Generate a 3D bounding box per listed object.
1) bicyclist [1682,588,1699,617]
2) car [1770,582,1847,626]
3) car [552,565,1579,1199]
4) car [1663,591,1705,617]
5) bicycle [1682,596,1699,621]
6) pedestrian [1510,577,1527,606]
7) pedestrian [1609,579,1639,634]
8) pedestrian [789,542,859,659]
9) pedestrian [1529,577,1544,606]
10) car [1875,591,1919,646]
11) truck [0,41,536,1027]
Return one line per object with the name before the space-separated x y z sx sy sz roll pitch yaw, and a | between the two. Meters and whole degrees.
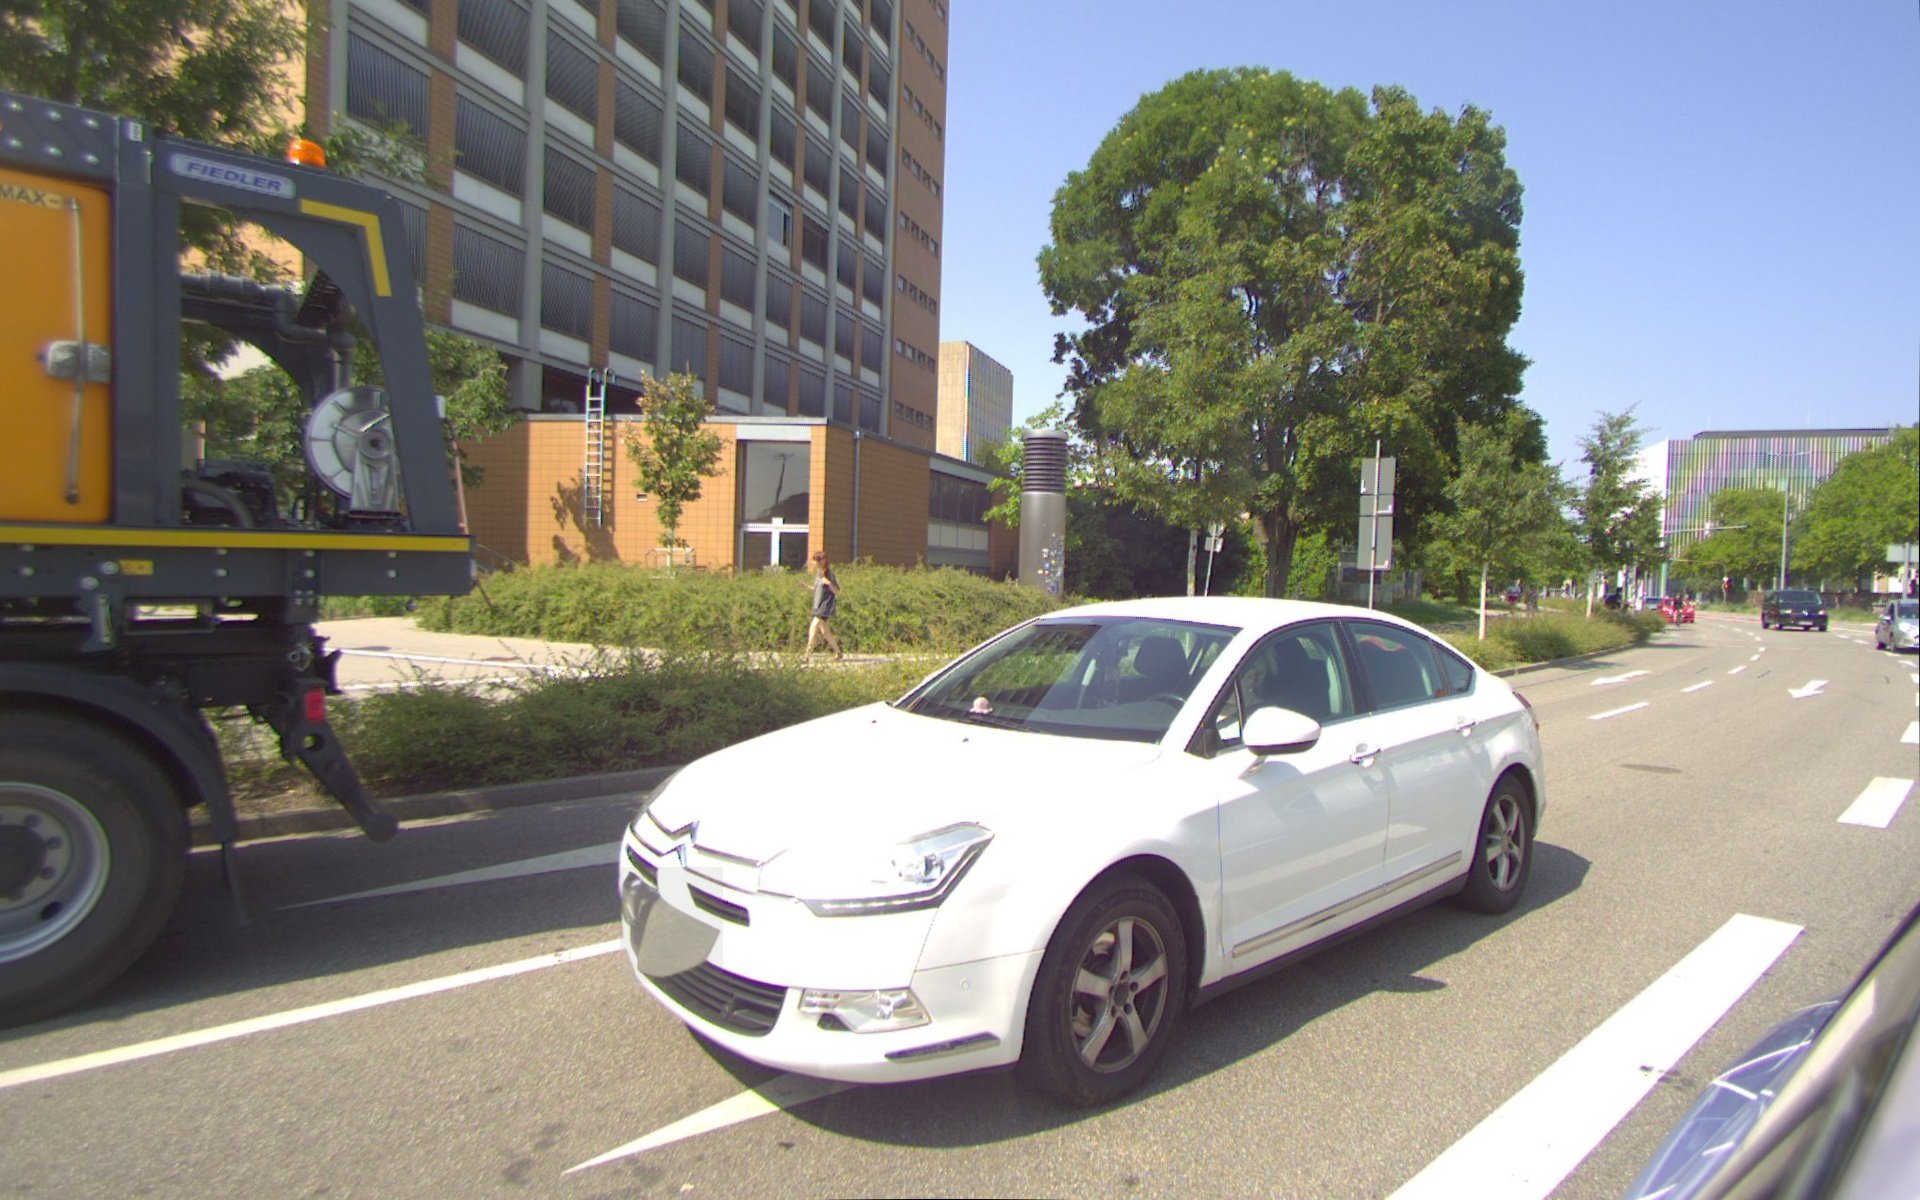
bicyclist | 37.394 0.121 51.808 0.675 1.417 1.036 2 1 35
car | 40.234 0.163 48.086 1.874 1.943 4.489 1 1 28
car | 0.863 0.631 4.351 4.529 1.446 1.772 0 2 -41
car | 42.481 0.234 59.413 1.637 1.449 3.775 1 1 30
bicycle | 37.454 0.427 51.899 0.590 1.183 2.208 2 2 34
pedestrian | 25.324 -0.383 45.887 0.630 1.315 0.481 0 0 32
pedestrian | 23.762 0.209 36.227 0.818 1.926 0.622 2 1 37
pedestrian | -2.090 -0.005 15.503 0.792 1.720 0.671 1 1 -41
pedestrian | 25.948 -0.387 45.542 0.572 1.315 0.433 0 0 30
car | 28.621 0.520 29.839 1.647 1.550 4.481 0 0 32
truck | -5.212 -0.244 3.162 6.736 3.173 2.499 0 2 -39
